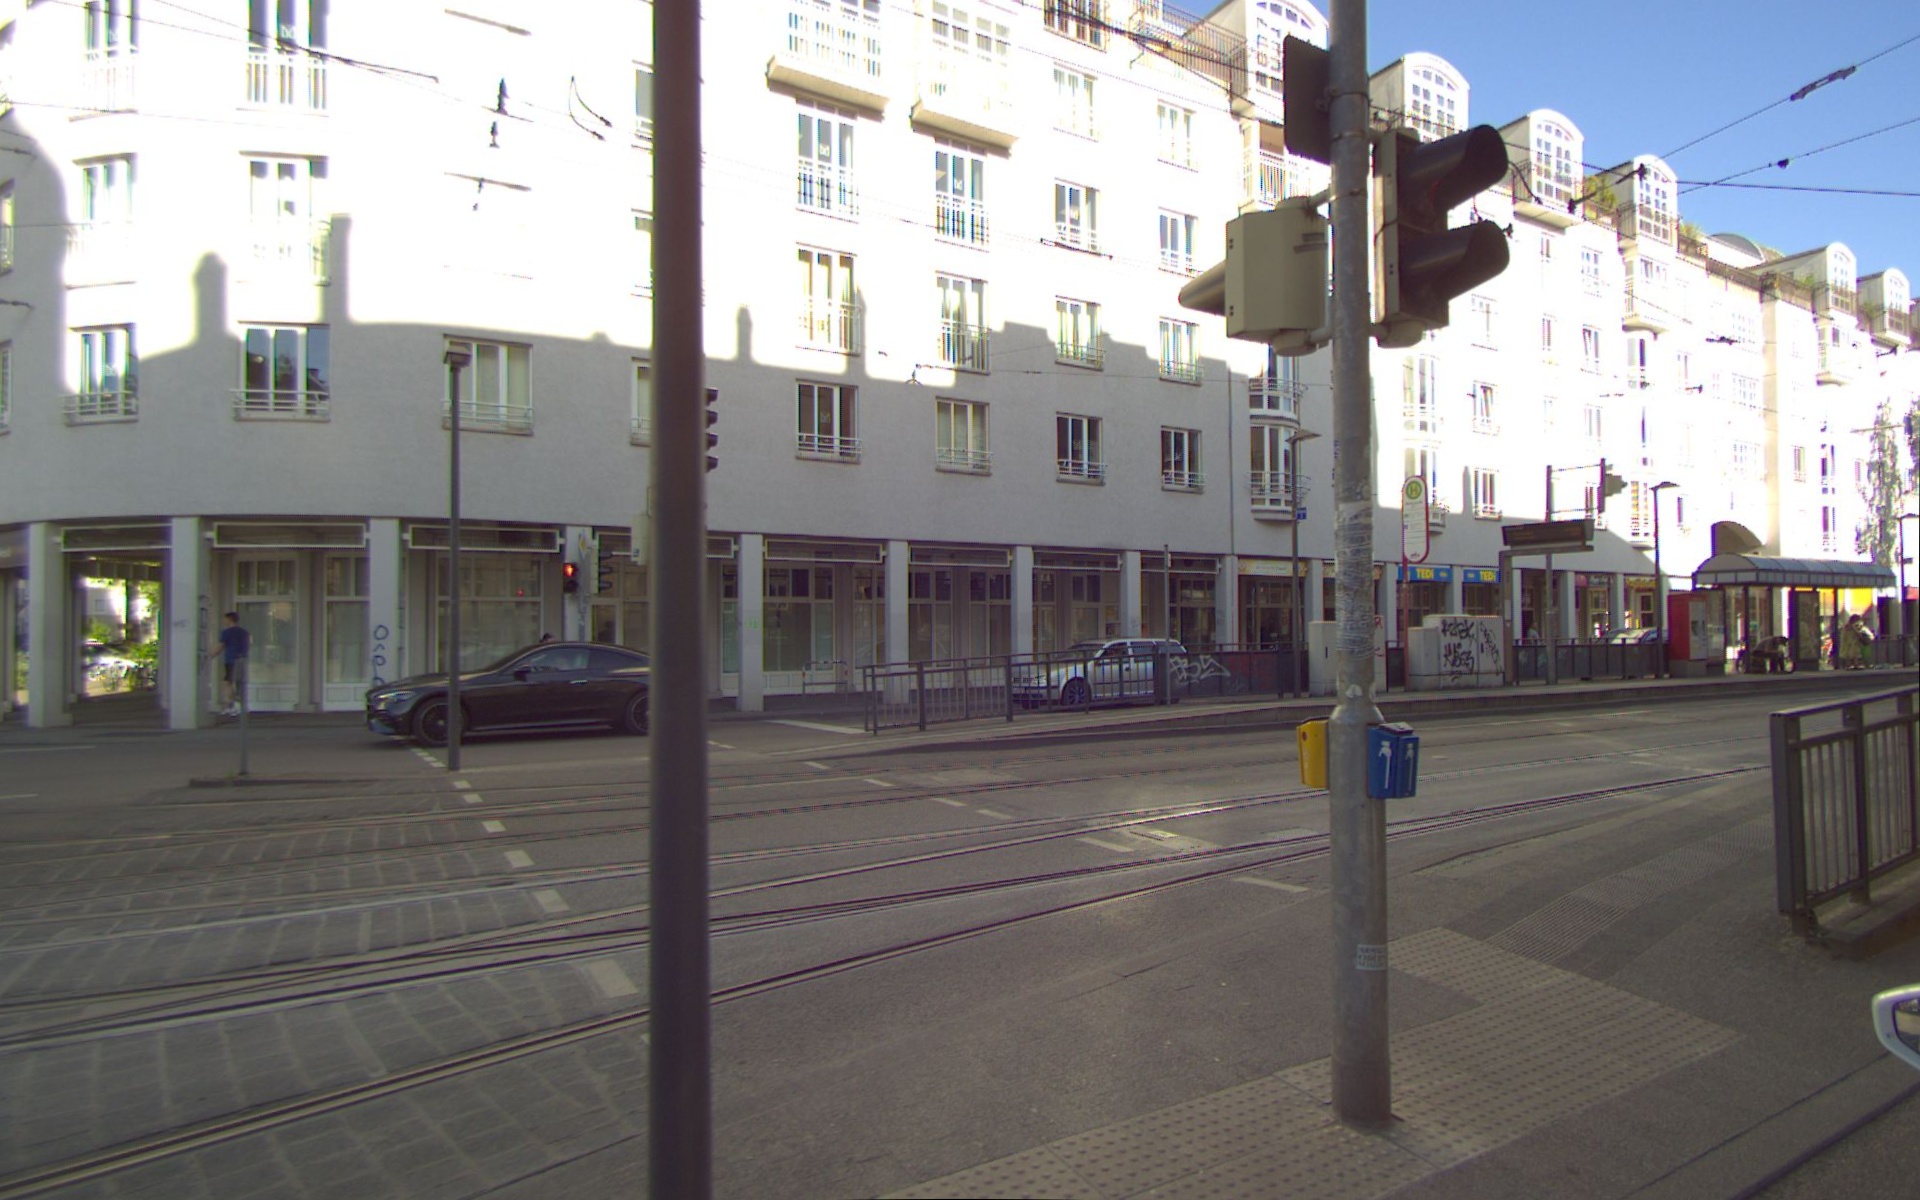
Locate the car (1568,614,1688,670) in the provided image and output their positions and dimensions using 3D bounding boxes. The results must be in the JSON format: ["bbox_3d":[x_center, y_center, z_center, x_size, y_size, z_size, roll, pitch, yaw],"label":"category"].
[{"bbox_3d":[21.058,1.280,31.652,3.601,1.530,1.684,-2,1,-29],"label":"car"}]

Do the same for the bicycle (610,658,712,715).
[{"bbox_3d":[-5.687,1.646,19.160,1.727,0.993,0.678,-1,0,-2],"label":"bicycle"}]

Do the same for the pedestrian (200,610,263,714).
[{"bbox_3d":[-13.416,1.127,18.512,0.731,1.857,0.462,-2,1,5],"label":"pedestrian"}]

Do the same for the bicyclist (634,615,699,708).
[{"bbox_3d":[-5.597,1.160,19.198,1.009,1.718,0.724,-1,0,-2],"label":"bicyclist"}]

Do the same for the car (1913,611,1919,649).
[{"bbox_3d":[38.736,1.105,38.909,3.601,1.440,1.684,-2,1,-29],"label":"car"}]

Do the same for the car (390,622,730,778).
[{"bbox_3d":[-6.103,1.369,15.427,4.556,1.936,2.216,-1,0,-31],"label":"car"}]

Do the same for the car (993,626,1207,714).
[{"bbox_3d":[2.978,1.385,21.068,4.354,1.535,1.720,-1,0,-31],"label":"car"}]

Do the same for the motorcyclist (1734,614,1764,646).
[{"bbox_3d":[28.030,1.060,35.699,0.817,1.089,0.556,0,1,-29],"label":"motorcyclist"}]

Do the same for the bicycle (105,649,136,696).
[{"bbox_3d":[-25.440,2.168,30.456,0.593,1.251,2.862,-3,1,-38],"label":"bicycle"}]

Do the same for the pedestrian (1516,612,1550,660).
[{"bbox_3d":[20.050,1.244,35.175,0.591,1.643,0.837,-1,0,-34],"label":"pedestrian"}]

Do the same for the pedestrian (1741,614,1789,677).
[{"bbox_3d":[20.426,1.134,25.501,0.734,1.548,0.727,-2,1,-31],"label":"pedestrian"}]

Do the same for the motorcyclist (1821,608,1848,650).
[{"bbox_3d":[31.613,1.038,36.310,0.713,1.522,0.484,0,1,-29],"label":"motorcyclist"}]

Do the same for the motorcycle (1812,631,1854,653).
[{"bbox_3d":[31.545,1.520,36.277,1.982,0.729,0.491,0,1,-29],"label":"motorcycle"}]

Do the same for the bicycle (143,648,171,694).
[{"bbox_3d":[-24.781,2.169,31.022,0.593,1.251,2.862,-3,1,-38],"label":"bicycle"}]

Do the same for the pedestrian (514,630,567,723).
[{"bbox_3d":[-7.319,1.323,17.547,0.434,1.555,0.683,-2,1,23],"label":"pedestrian"}]

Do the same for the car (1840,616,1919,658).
[{"bbox_3d":[37.084,1.452,40.225,3.601,1.440,1.684,-2,1,-29],"label":"car"}]

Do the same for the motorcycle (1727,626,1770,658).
[{"bbox_3d":[27.990,1.485,35.647,1.822,1.089,0.556,0,1,-29],"label":"motorcycle"}]

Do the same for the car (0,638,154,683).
[{"bbox_3d":[-32.113,2.155,36.303,4.354,1.353,1.983,-1,0,-31],"label":"car"}]

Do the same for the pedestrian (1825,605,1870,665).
[{"bbox_3d":[24.115,0.934,27.299,0.734,1.580,0.727,-2,1,-31],"label":"pedestrian"}]
